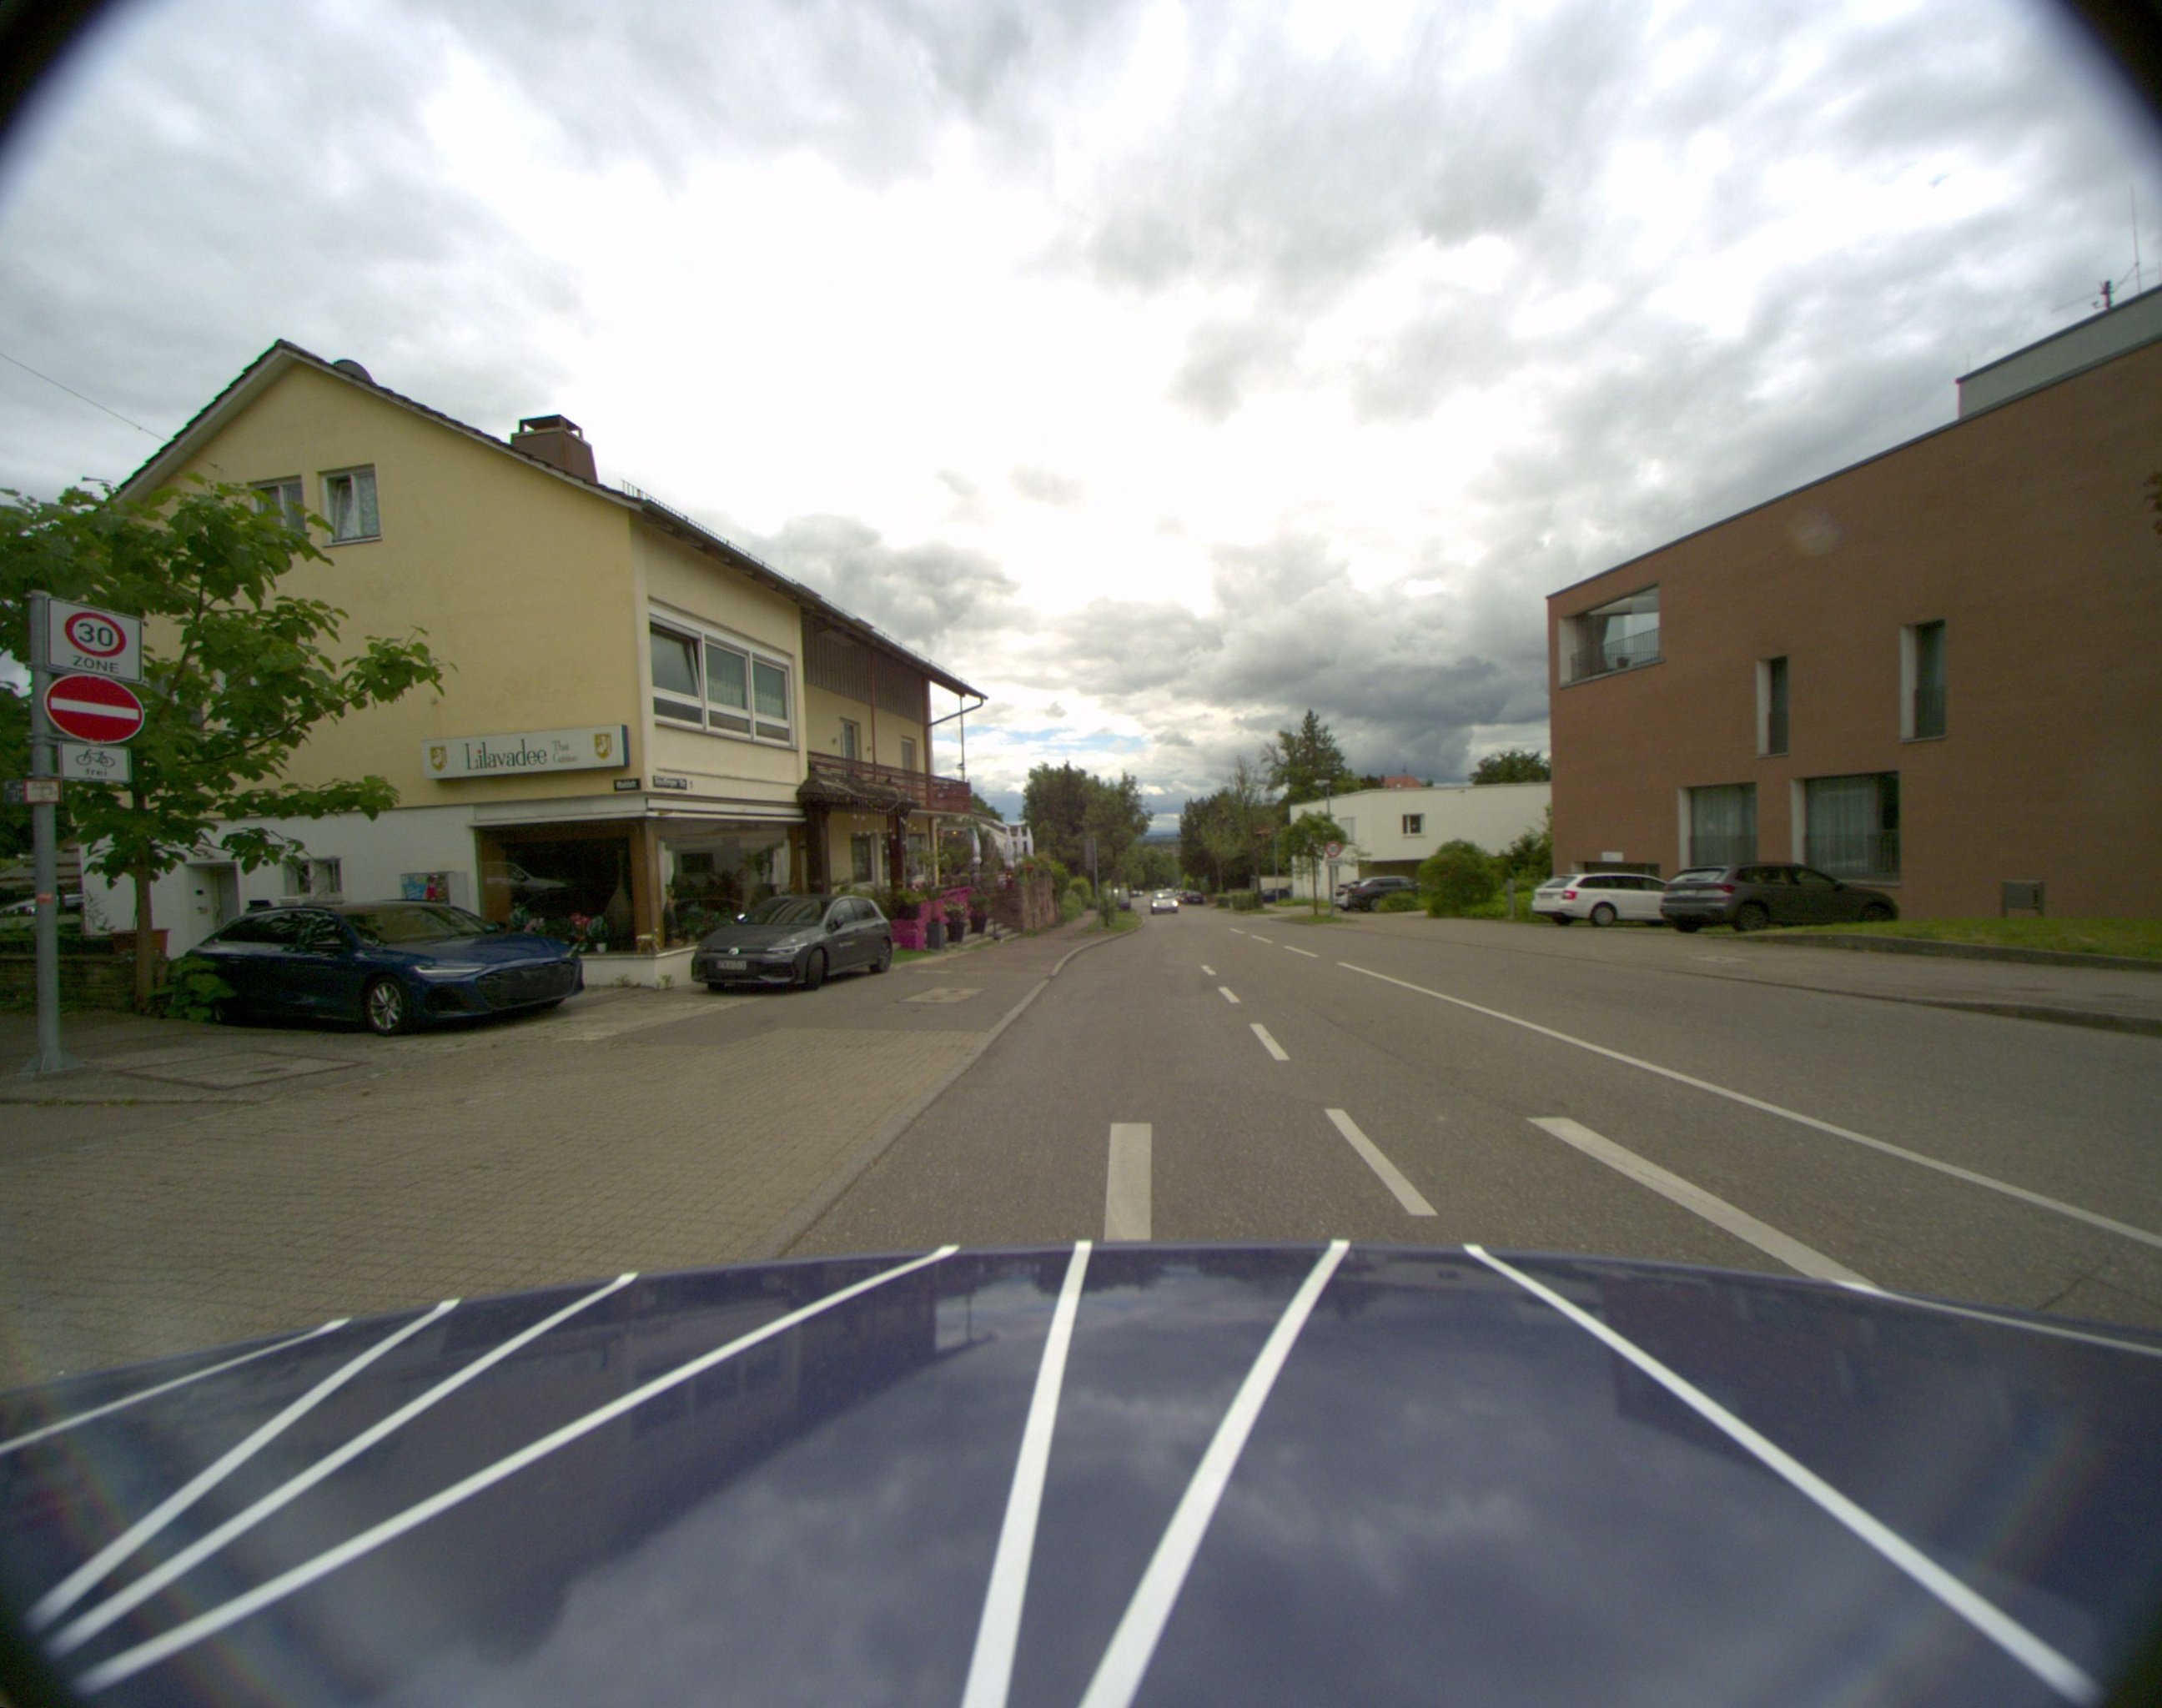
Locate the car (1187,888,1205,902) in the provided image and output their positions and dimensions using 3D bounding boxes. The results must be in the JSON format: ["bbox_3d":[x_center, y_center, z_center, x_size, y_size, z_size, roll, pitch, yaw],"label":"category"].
[{"bbox_3d":[12.197,4.291,80.585,1.661,1.412,4.004,-2,-3,6],"label":"car"}]

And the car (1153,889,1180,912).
[{"bbox_3d":[5.755,3.112,51.328,1.725,1.476,4.004,-2,-3,6],"label":"car"}]

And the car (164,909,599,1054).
[{"bbox_3d":[-8.520,1.417,9.297,4.739,1.378,1.802,-2,-1,18],"label":"car"}]

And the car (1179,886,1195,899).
[{"bbox_3d":[12.515,4.546,89.582,1.661,1.412,4.372,-2,-3,6],"label":"car"}]

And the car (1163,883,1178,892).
[{"bbox_3d":[16.229,6.055,137.979,1.884,1.412,4.368,-1,-1,-2],"label":"car"}]

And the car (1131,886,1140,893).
[{"bbox_3d":[13.136,8.568,184.343,1.883,1.412,4.369,-1,-1,1],"label":"car"}]

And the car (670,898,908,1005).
[{"bbox_3d":[-4.534,1.477,12.634,1.796,1.452,4.332,-1,-4,8],"label":"car"}]

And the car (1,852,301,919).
[{"bbox_3d":[-22.749,0.825,18.861,1.795,1.452,4.336,-2,-4,22],"label":"car"}]

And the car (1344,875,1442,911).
[{"bbox_3d":[15.067,1.891,36.883,3.996,1.585,1.795,-2,-3,3],"label":"car"}]

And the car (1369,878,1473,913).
[{"bbox_3d":[15.612,1.893,35.042,3.996,1.476,1.728,-2,-3,3],"label":"car"}]

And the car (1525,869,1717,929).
[{"bbox_3d":[14.625,1.216,20.719,3.998,1.476,1.727,-1,-3,-3],"label":"car"}]

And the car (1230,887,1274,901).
[{"bbox_3d":[16.563,3.876,73.735,3.995,1.278,1.665,-2,-3,7],"label":"car"}]

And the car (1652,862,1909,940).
[{"bbox_3d":[14.924,0.991,16.352,3.998,1.476,1.727,-1,-3,-3],"label":"car"}]
